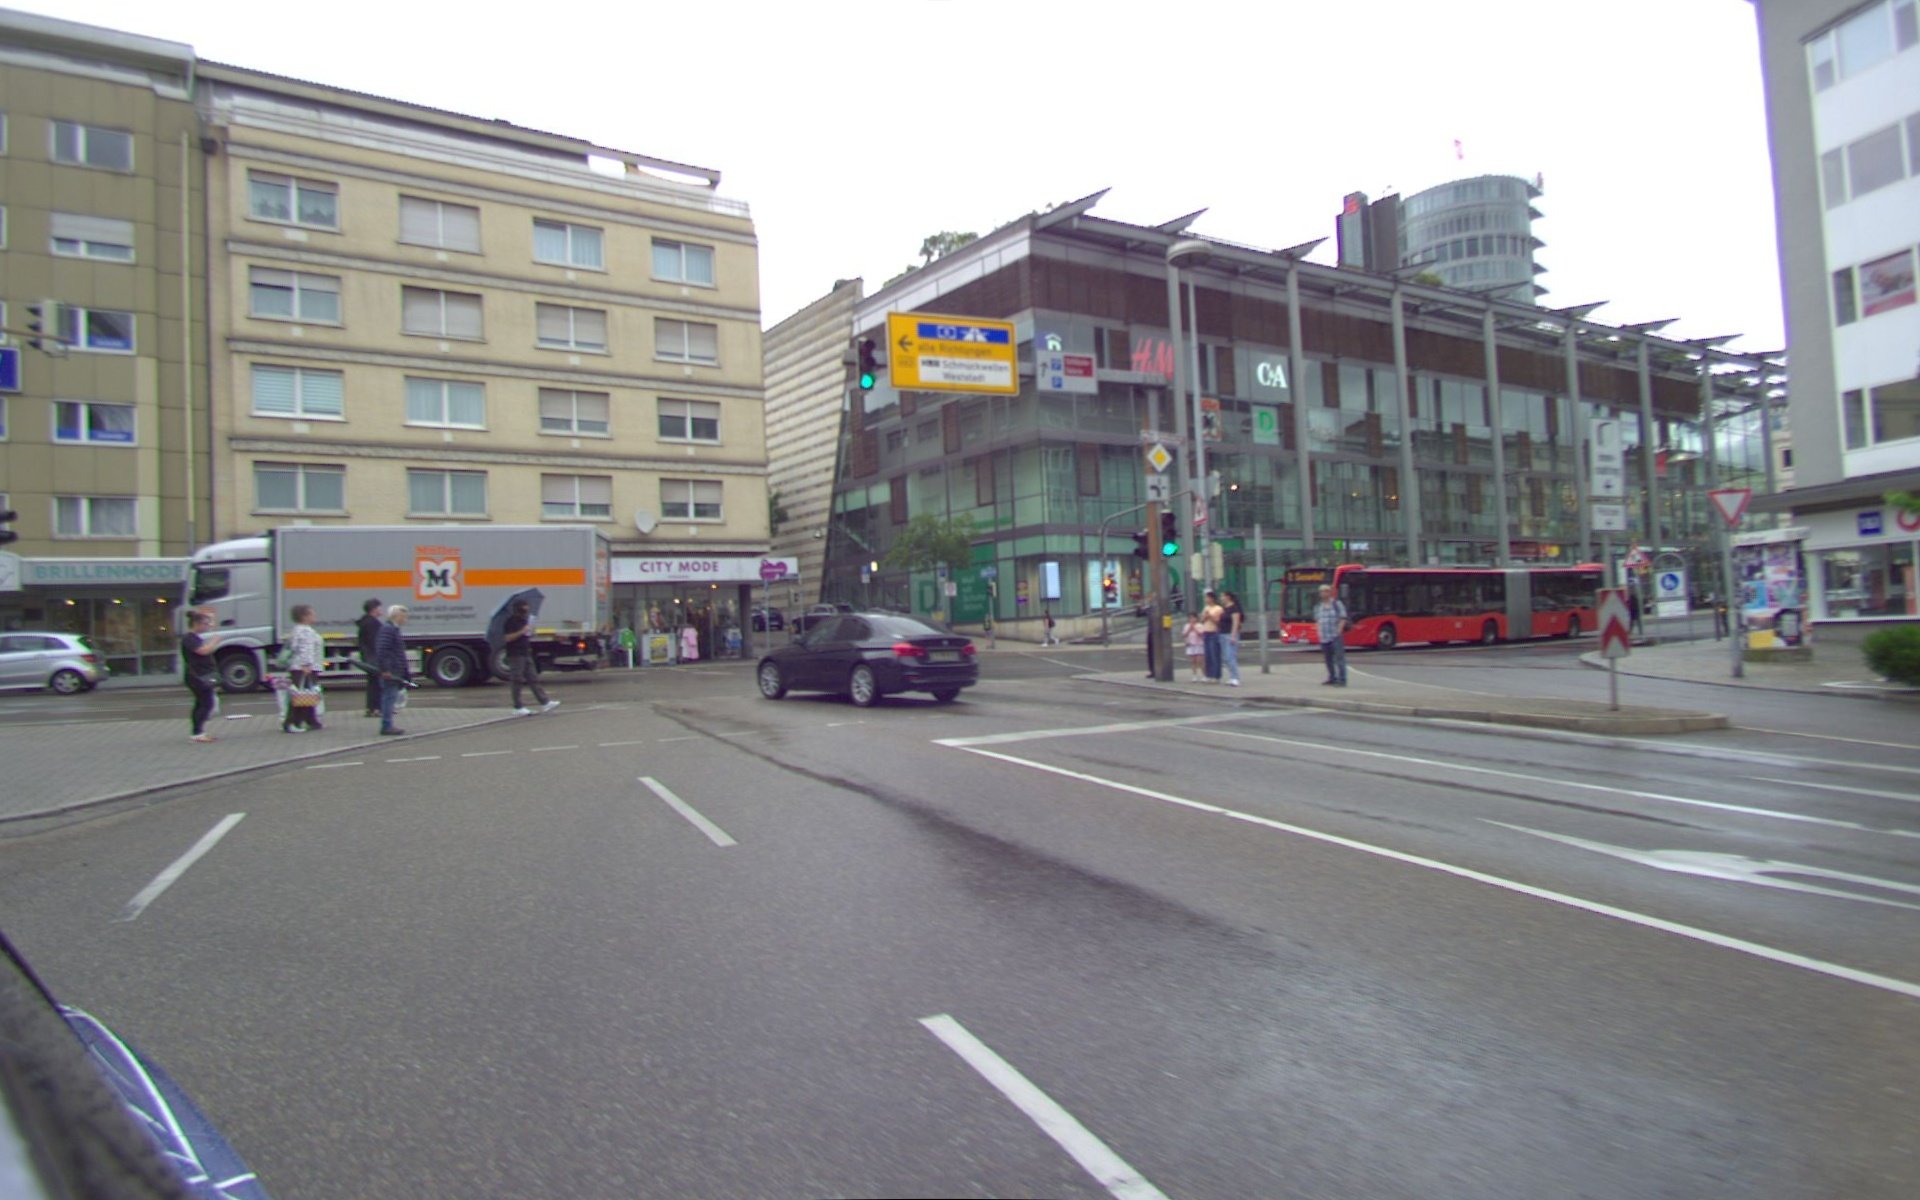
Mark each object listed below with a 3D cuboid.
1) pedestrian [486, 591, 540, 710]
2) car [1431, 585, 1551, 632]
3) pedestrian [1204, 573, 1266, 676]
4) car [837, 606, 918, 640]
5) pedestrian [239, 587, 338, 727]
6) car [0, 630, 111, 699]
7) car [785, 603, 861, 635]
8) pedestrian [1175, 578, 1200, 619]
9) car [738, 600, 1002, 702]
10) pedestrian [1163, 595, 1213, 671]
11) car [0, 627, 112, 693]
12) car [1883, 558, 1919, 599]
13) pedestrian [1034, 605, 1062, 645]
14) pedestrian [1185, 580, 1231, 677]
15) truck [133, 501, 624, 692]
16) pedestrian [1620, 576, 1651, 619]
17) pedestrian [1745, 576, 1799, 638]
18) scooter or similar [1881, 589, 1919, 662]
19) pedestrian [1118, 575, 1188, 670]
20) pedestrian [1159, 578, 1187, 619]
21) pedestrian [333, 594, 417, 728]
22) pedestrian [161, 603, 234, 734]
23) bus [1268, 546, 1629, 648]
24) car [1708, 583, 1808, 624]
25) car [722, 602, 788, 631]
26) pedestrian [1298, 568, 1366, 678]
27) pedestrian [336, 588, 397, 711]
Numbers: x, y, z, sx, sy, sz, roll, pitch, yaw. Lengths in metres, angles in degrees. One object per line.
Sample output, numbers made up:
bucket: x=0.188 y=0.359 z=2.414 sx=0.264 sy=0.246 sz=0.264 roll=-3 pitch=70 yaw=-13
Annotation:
pedestrian: x=-6.648 y=0.731 z=15.028 sx=0.681 sy=1.705 sz=0.761 roll=1 pitch=-1 yaw=-26
car: x=25.338 y=0.369 z=48.224 sx=5.808 sy=2.091 sz=2.459 roll=-1 pitch=-1 yaw=-32
pedestrian: x=4.717 y=0.411 z=17.385 sx=0.628 sy=1.702 sz=0.786 roll=-1 pitch=-1 yaw=-22
car: x=-4.073 y=1.082 z=49.524 sx=1.777 sy=1.558 sz=4.303 roll=-1 pitch=0 yaw=-40
pedestrian: x=-8.521 y=0.695 z=12.885 sx=0.899 sy=1.685 sz=0.984 roll=-1 pitch=-1 yaw=-25
car: x=-24.249 y=1.649 z=25.320 sx=4.325 sy=1.562 sz=1.859 roll=-2 pitch=0 yaw=-32
car: x=-7.346 y=1.012 z=54.059 sx=1.869 sy=1.558 sz=4.388 roll=-4 pitch=2 yaw=-40
pedestrian: x=11.438 y=-0.077 z=50.888 sx=0.835 sy=1.995 sz=0.880 roll=-1 pitch=-2 yaw=-31
car: x=-1.623 y=0.807 z=16.586 sx=1.969 sy=1.436 sz=4.641 roll=0 pitch=-2 yaw=-40
pedestrian: x=4.160 y=0.599 z=18.487 sx=0.578 sy=1.349 sz=0.633 roll=-1 pitch=-1 yaw=-37
car: x=-24.017 y=1.519 z=25.285 sx=4.131 sy=1.575 sz=1.710 roll=-1 pitch=-2 yaw=-33
car: x=45.148 y=-1.000 z=47.406 sx=4.035 sy=1.840 sz=1.872 roll=-1 pitch=-1 yaw=-34
pedestrian: x=3.948 y=1.128 z=45.383 sx=1.040 sy=1.775 sz=0.691 roll=-2 pitch=-2 yaw=18
pedestrian: x=4.399 y=0.507 z=17.972 sx=0.493 sy=1.681 sz=0.573 roll=-1 pitch=-2 yaw=-24
truck: x=-14.416 y=-0.118 z=25.932 sx=10.602 sy=4.366 sz=2.860 roll=-1 pitch=-1 yaw=-7
pedestrian: x=28.857 y=-0.104 z=43.236 sx=0.617 sy=1.816 sz=0.909 roll=0 pitch=-1 yaw=-25
pedestrian: x=23.784 y=0.198 z=29.644 sx=0.787 sy=1.789 sz=1.028 roll=-1 pitch=-1 yaw=-37
scooter or similar: x=16.034 y=0.413 z=16.510 sx=0.535 sy=1.196 sz=1.387 roll=-1 pitch=-2 yaw=-11
pedestrian: x=3.783 y=0.436 z=19.873 sx=0.839 sy=1.801 sz=1.015 roll=-1 pitch=-1 yaw=-37
pedestrian: x=10.614 y=-0.069 z=50.422 sx=0.958 sy=1.995 sz=0.886 roll=-1 pitch=-2 yaw=-31
pedestrian: x=-7.160 y=0.722 z=12.430 sx=0.840 sy=1.580 sz=0.717 roll=0 pitch=-1 yaw=-26
pedestrian: x=-9.006 y=0.786 z=11.981 sx=0.550 sy=1.499 sz=0.709 roll=0 pitch=-1 yaw=-26
bus: x=19.475 y=-0.138 z=39.121 sx=18.162 sy=3.346 sz=2.938 roll=-1 pitch=-1 yaw=-31
car: x=31.807 y=0.149 z=40.322 sx=3.931 sy=1.539 sz=1.748 roll=-1 pitch=-1 yaw=-30
car: x=-12.082 y=0.958 z=59.572 sx=1.869 sy=1.558 sz=4.388 roll=-4 pitch=2 yaw=-40
pedestrian: x=6.241 y=0.385 z=17.007 sx=0.607 sy=1.792 sz=0.834 roll=-1 pitch=-1 yaw=-37
pedestrian: x=-8.611 y=0.705 z=14.711 sx=0.694 sy=1.724 sz=0.789 roll=0 pitch=-1 yaw=-26
